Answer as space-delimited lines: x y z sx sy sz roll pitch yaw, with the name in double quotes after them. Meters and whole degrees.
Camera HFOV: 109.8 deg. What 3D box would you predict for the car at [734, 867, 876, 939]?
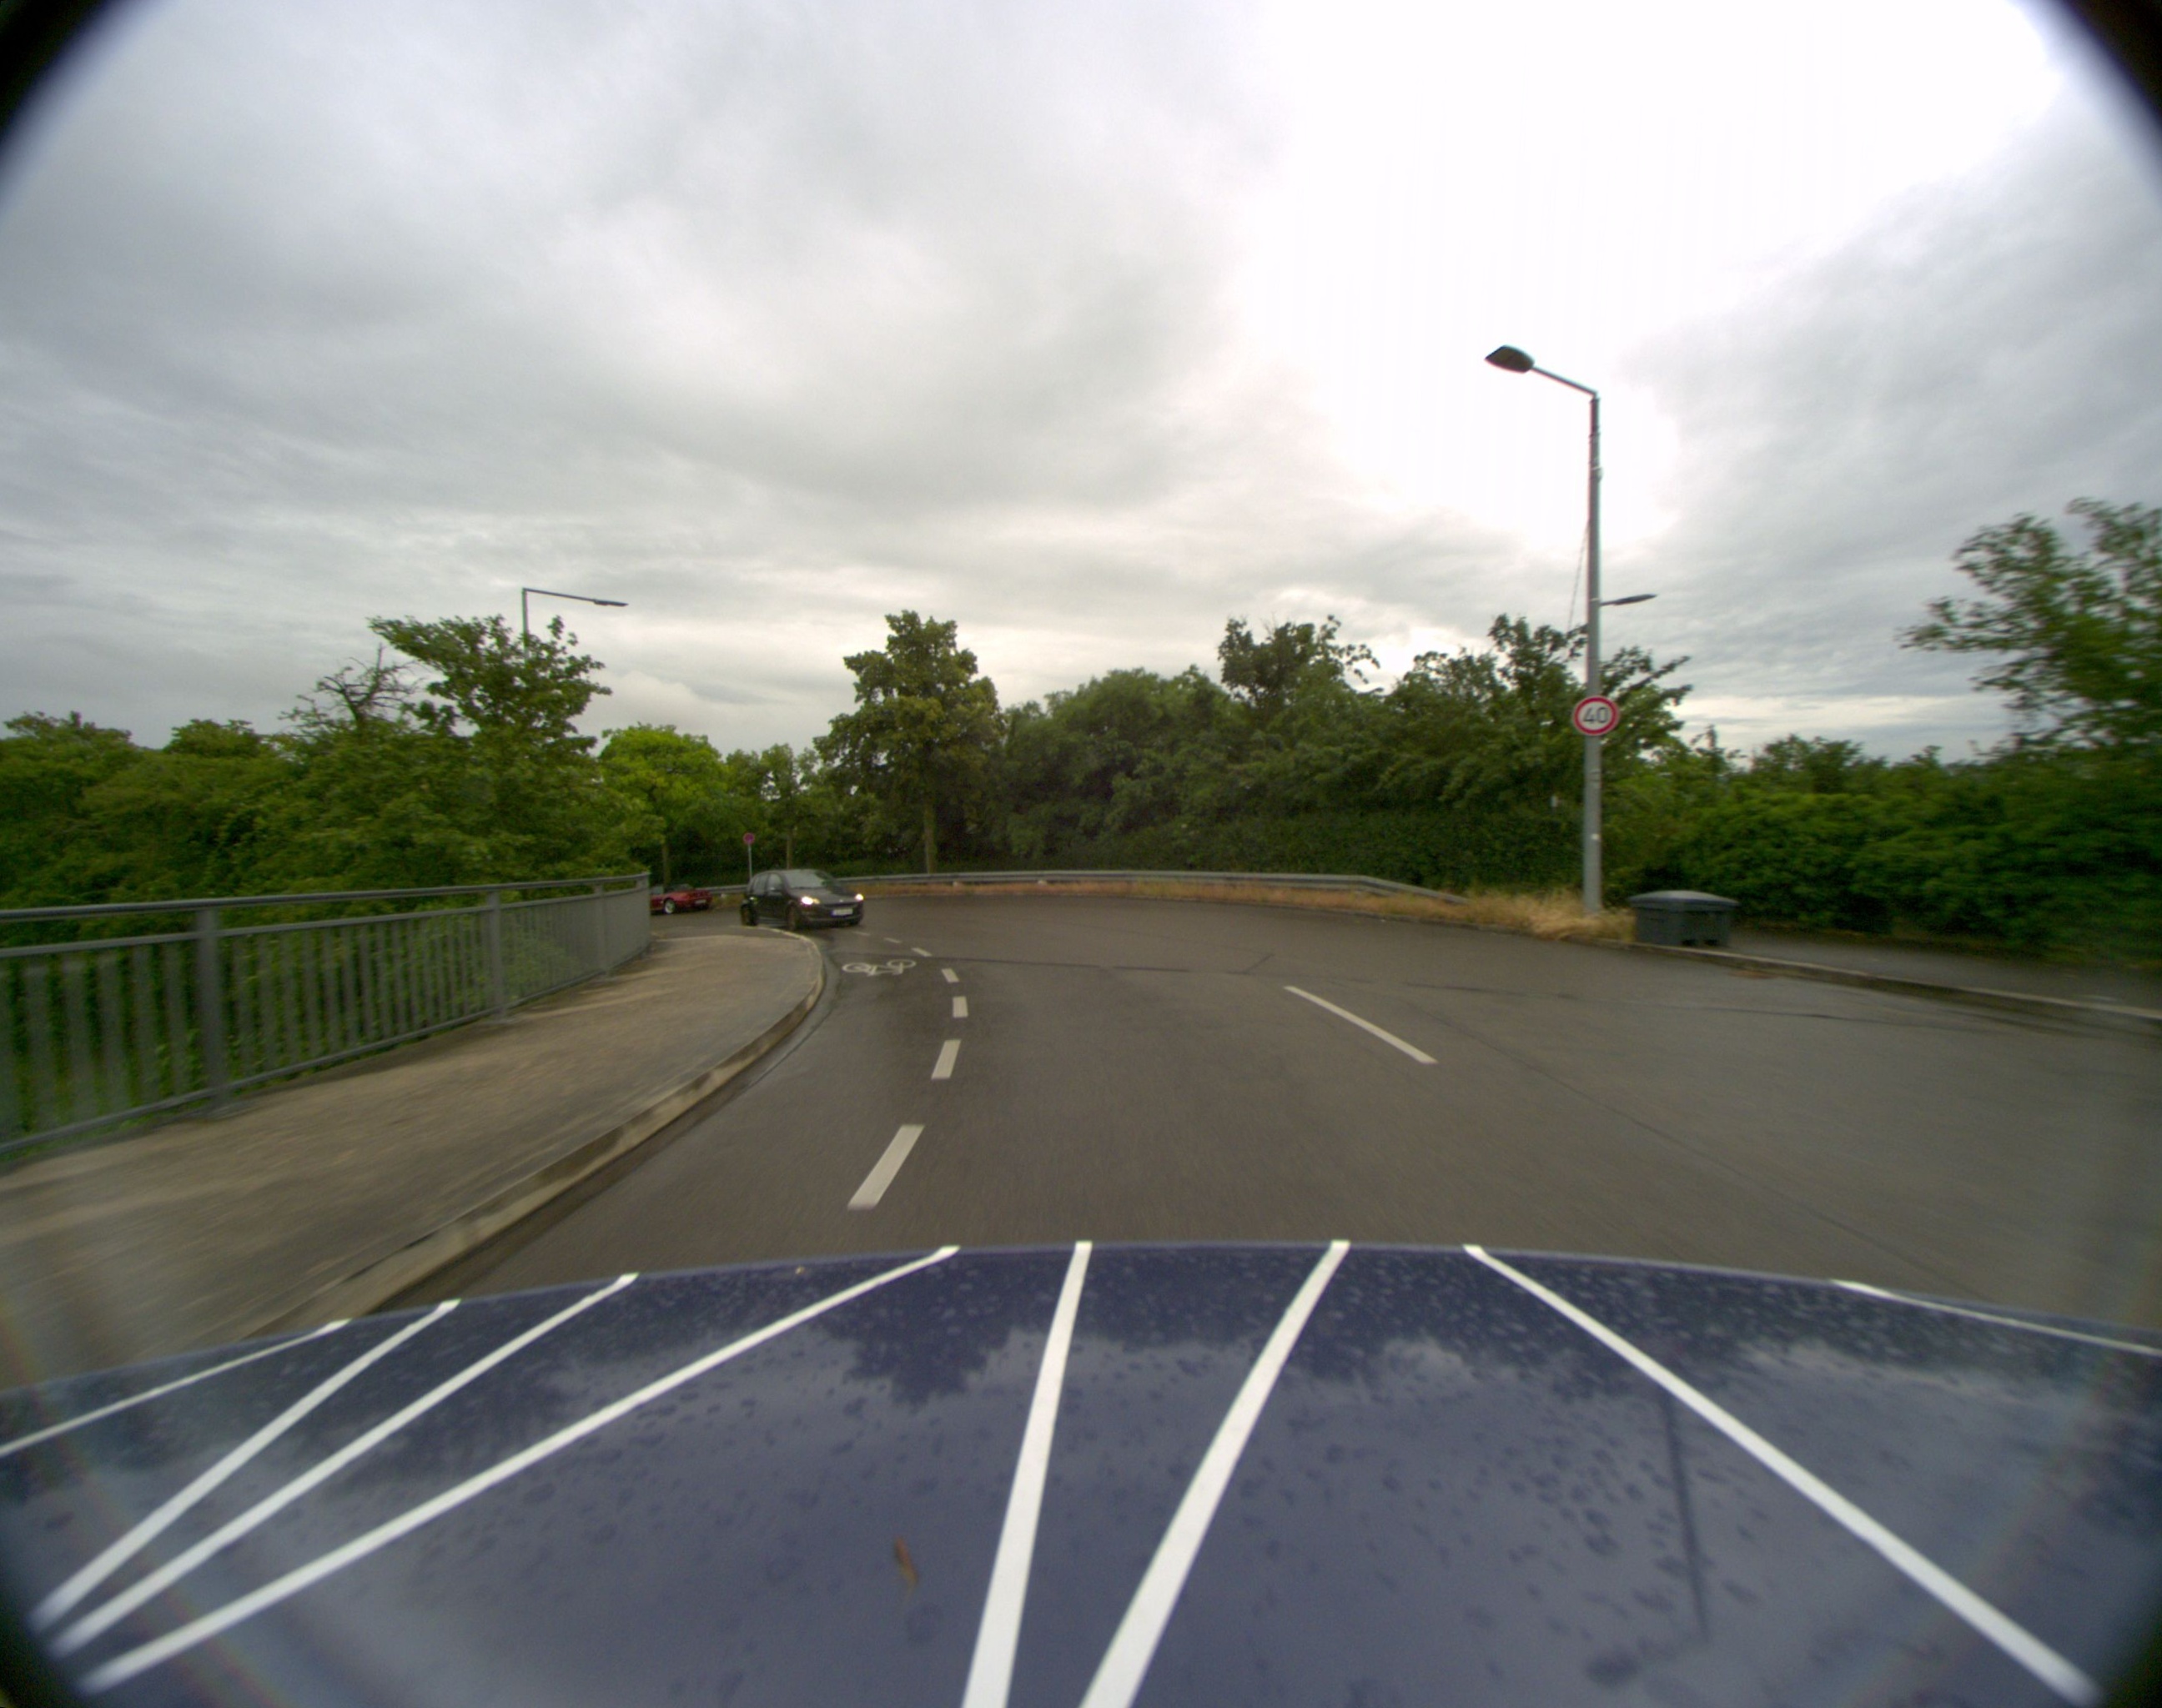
-6.770 1.125 18.467 3.627 1.405 1.684 -2 4 44 "car"
